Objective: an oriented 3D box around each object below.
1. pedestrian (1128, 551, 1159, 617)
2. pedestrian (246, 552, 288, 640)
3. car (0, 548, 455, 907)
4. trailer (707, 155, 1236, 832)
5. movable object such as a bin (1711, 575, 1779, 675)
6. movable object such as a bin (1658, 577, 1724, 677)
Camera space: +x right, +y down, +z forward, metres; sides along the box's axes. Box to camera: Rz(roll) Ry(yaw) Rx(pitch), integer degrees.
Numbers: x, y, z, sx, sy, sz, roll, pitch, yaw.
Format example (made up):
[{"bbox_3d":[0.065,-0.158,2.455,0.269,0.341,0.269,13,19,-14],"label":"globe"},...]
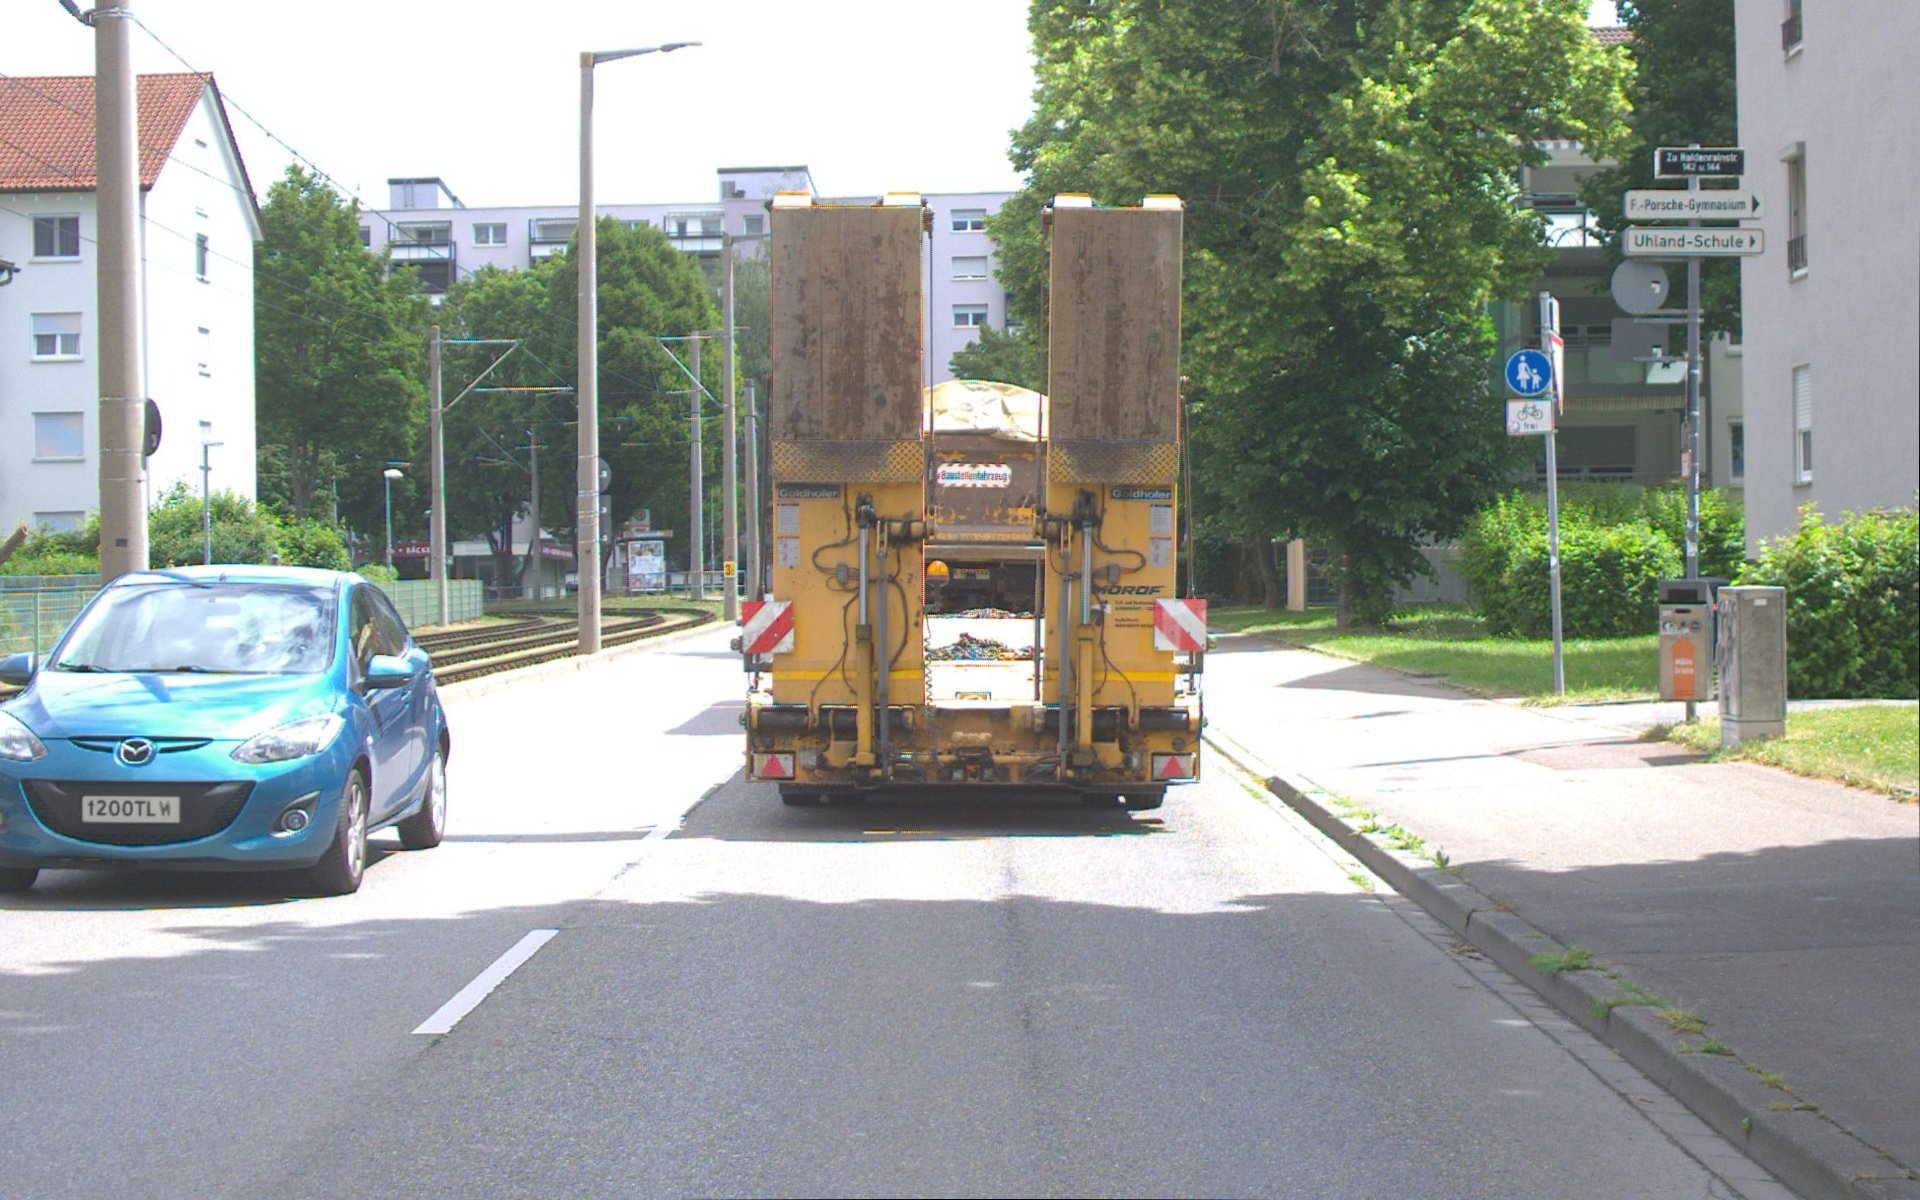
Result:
[{"bbox_3d":[4.797,-0.433,90.042,0.718,1.700,0.766,-2,1,0],"label":"pedestrian"},{"bbox_3d":[-14.673,-0.090,72.804,0.659,1.842,0.768,-2,0,0],"label":"pedestrian"},{"bbox_3d":[-3.473,0.524,16.368,1.623,1.520,3.581,0,0,0],"label":"car"},{"bbox_3d":[-0.152,-0.629,24.864,2.827,3.633,12.355,1,0,-2],"label":"trailer"},{"bbox_3d":[7.621,0.239,33.391,0.500,0.944,0.551,-2,0,0],"label":"movable object such as a bin"},{"bbox_3d":[7.086,0.258,33.336,0.496,0.951,0.580,-2,0,0],"label":"movable object such as a bin"}]
